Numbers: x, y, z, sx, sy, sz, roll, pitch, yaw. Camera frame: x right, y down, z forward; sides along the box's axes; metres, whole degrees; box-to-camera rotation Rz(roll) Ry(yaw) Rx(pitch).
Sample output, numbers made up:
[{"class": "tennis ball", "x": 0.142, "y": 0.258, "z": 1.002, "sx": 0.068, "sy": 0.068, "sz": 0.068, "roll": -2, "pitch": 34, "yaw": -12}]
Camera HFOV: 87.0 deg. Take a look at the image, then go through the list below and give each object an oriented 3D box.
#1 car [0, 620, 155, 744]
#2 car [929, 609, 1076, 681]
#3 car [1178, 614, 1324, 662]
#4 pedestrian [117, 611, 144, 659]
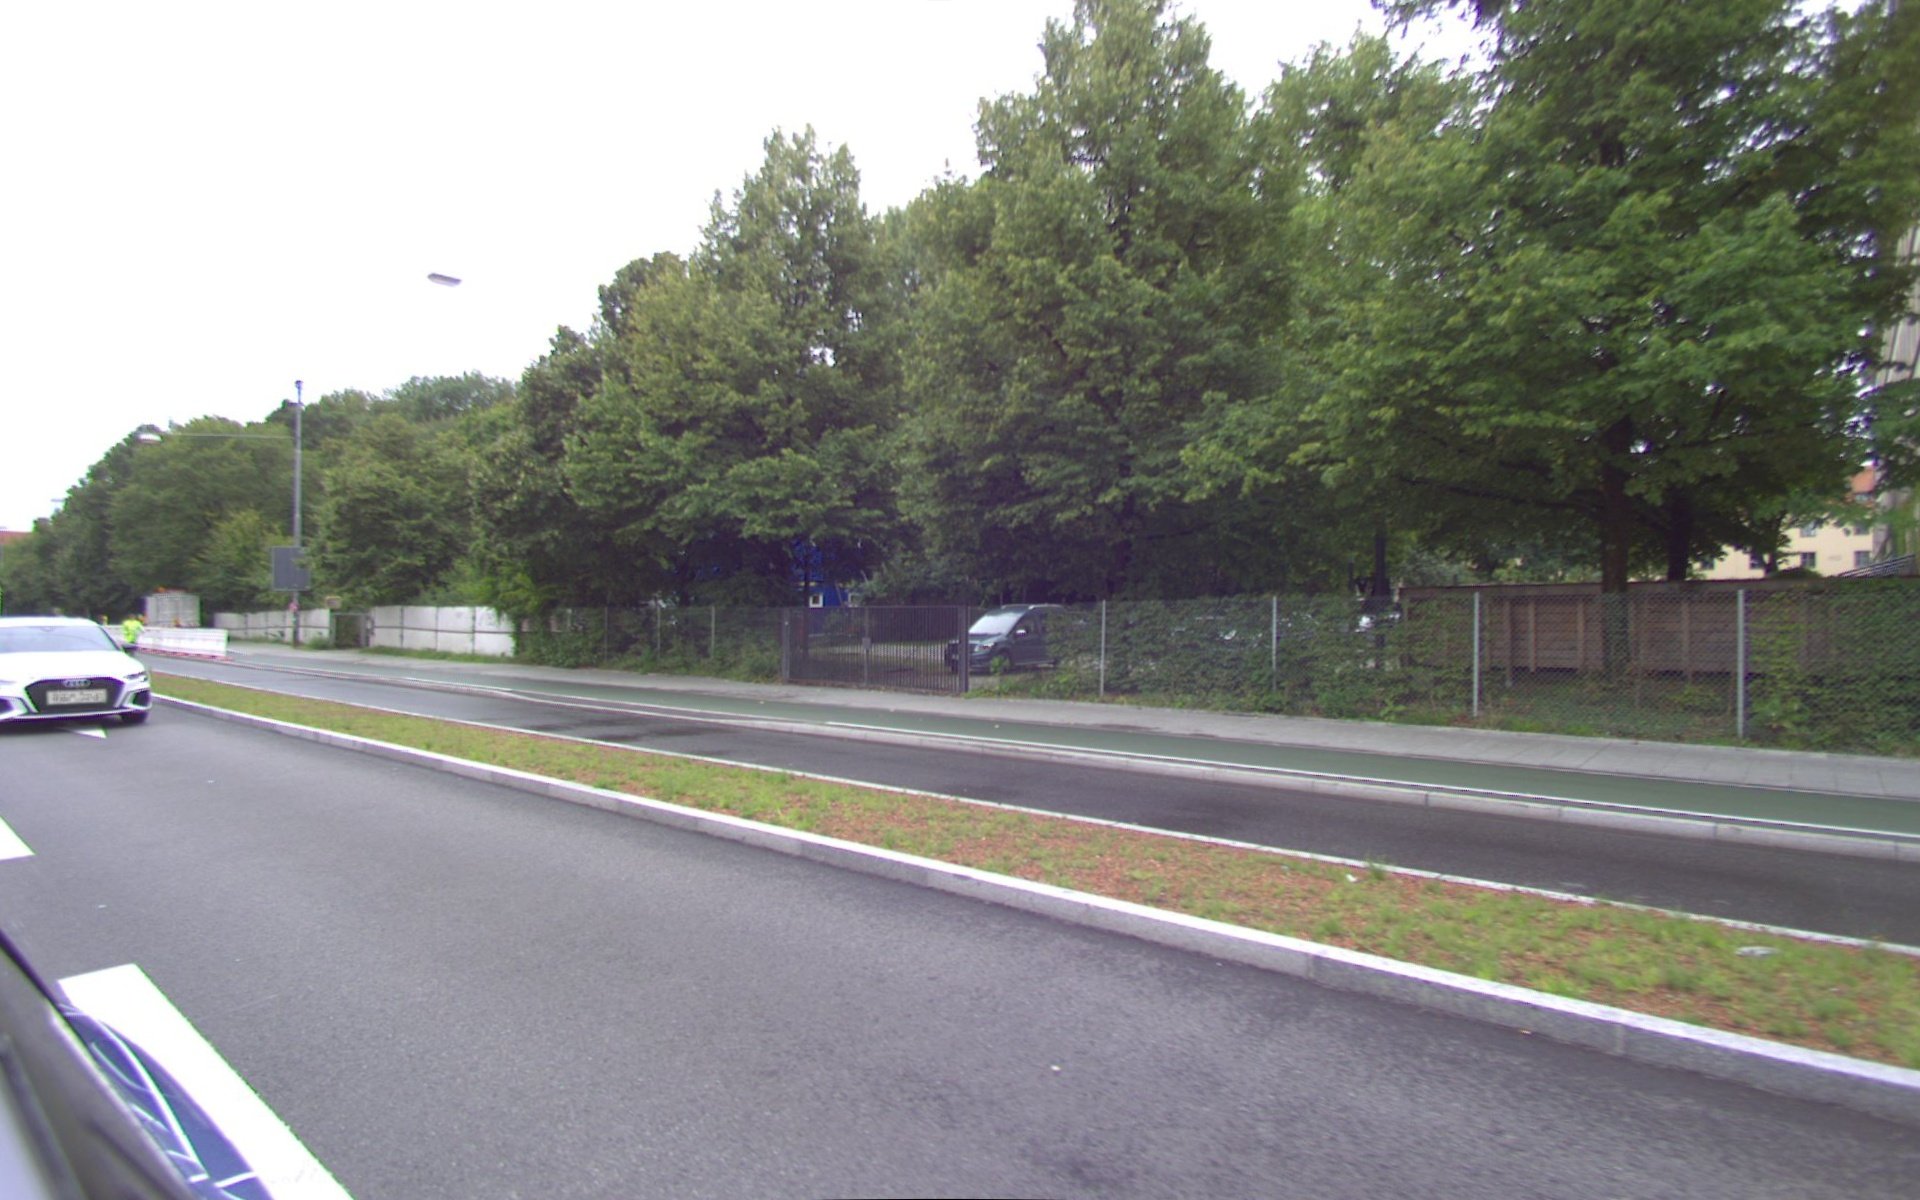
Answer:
[{"class": "car", "x": -12.799, "y": 1.027, "z": 13.963, "sx": 4.448, "sy": 1.435, "sz": 1.795, "roll": -1, "pitch": 0, "yaw": 40}, {"class": "car", "x": 1.220, "y": 1.172, "z": 27.848, "sx": 1.877, "sy": 1.722, "sz": 3.982, "roll": 2, "pitch": 2, "yaw": 44}, {"class": "car", "x": 9.675, "y": 1.242, "z": 33.751, "sx": 4.257, "sy": 1.459, "sz": 1.974, "roll": -1, "pitch": -1, "yaw": 39}, {"class": "pedestrian", "x": -35.398, "y": 1.480, "z": 43.189, "sx": 0.867, "sy": 2.029, "sz": 0.748, "roll": -1, "pitch": -1, "yaw": 41}]
